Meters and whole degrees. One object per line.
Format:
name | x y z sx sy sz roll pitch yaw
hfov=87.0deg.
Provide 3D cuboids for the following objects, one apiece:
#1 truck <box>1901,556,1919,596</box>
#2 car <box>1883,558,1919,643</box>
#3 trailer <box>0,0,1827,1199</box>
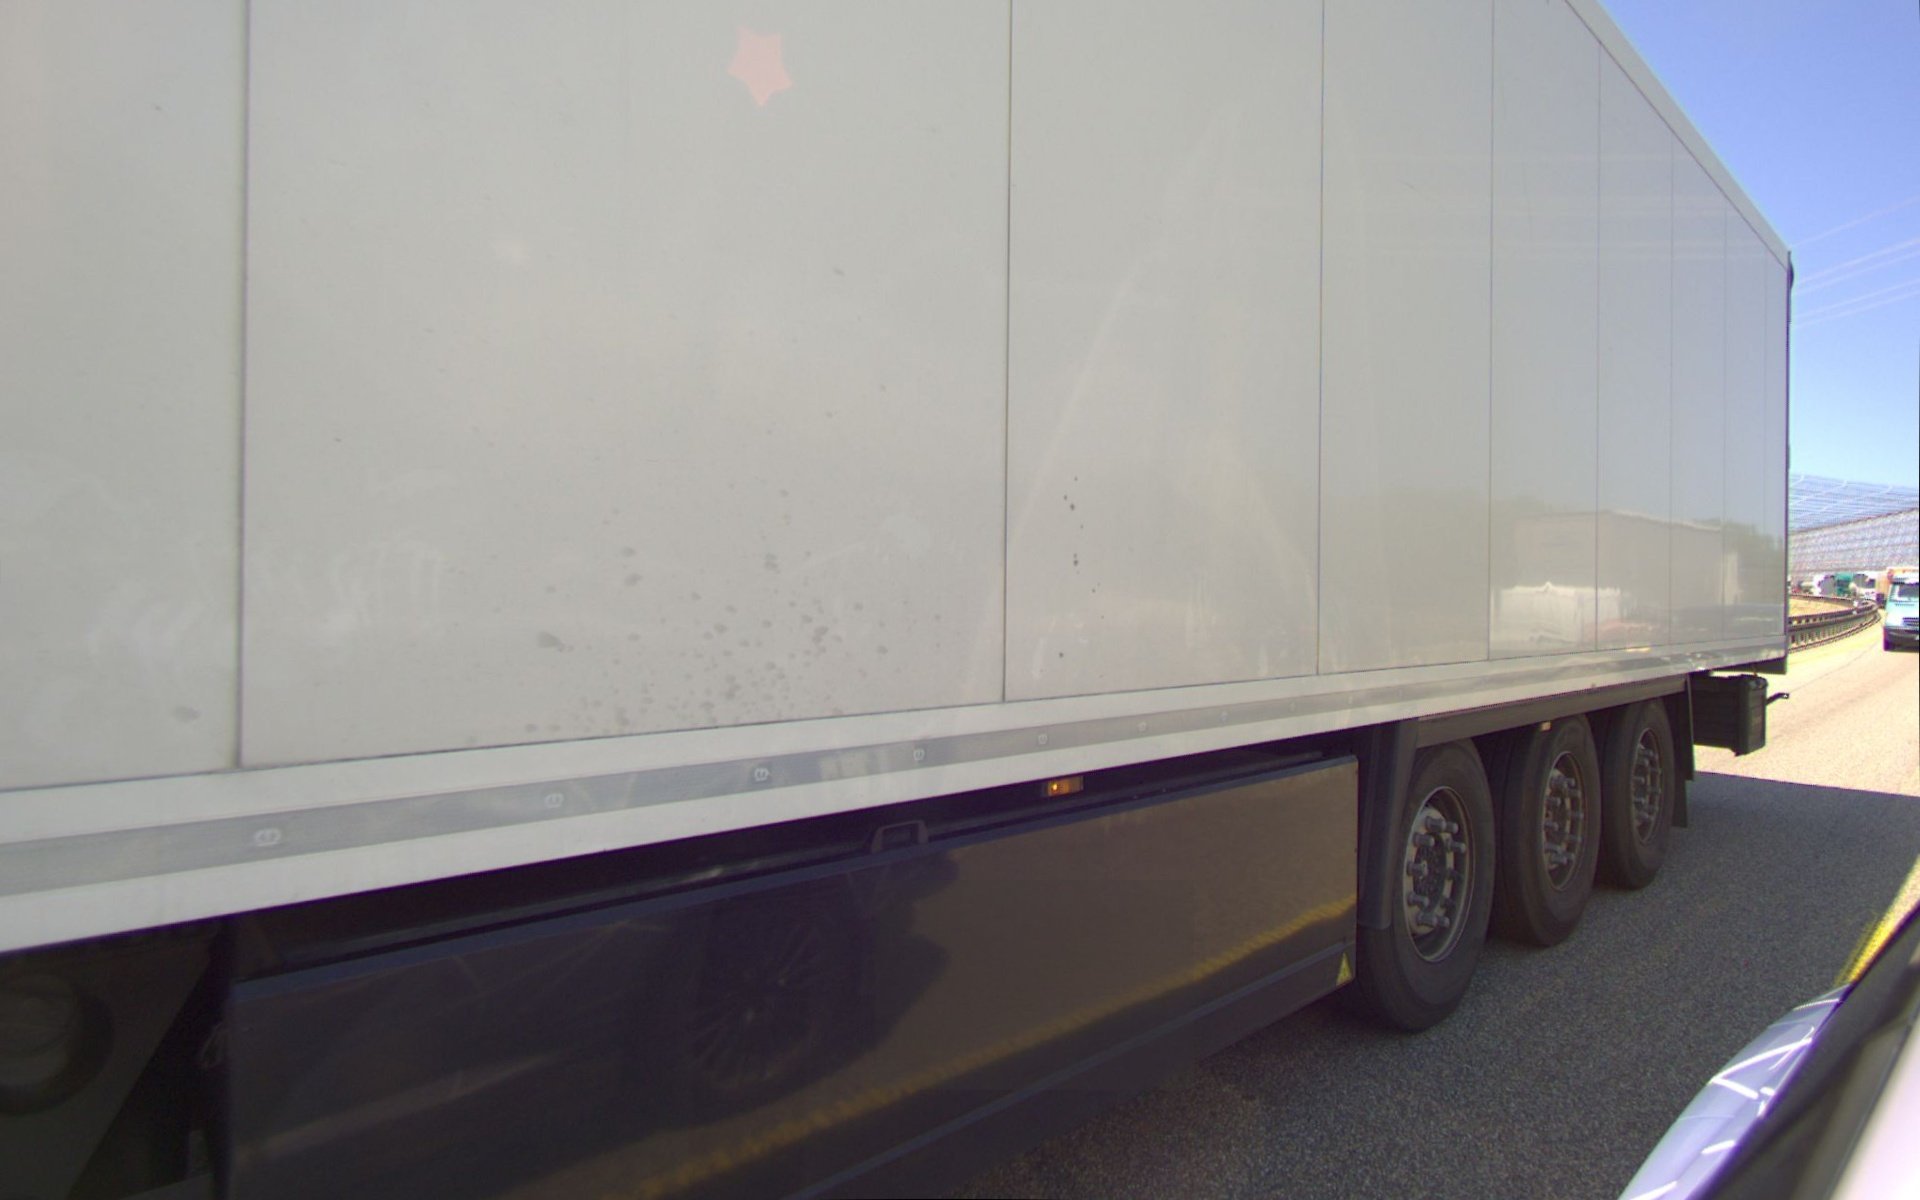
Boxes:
truck | 88.123 -2.131 92.857 2.465 3.528 9.712 0 0 44
car | 29.400 0.000 30.027 6.782 2.355 2.215 -1 1 -41
trailer | 1.061 -0.653 4.301 11.350 4.179 2.535 -1 0 -42
